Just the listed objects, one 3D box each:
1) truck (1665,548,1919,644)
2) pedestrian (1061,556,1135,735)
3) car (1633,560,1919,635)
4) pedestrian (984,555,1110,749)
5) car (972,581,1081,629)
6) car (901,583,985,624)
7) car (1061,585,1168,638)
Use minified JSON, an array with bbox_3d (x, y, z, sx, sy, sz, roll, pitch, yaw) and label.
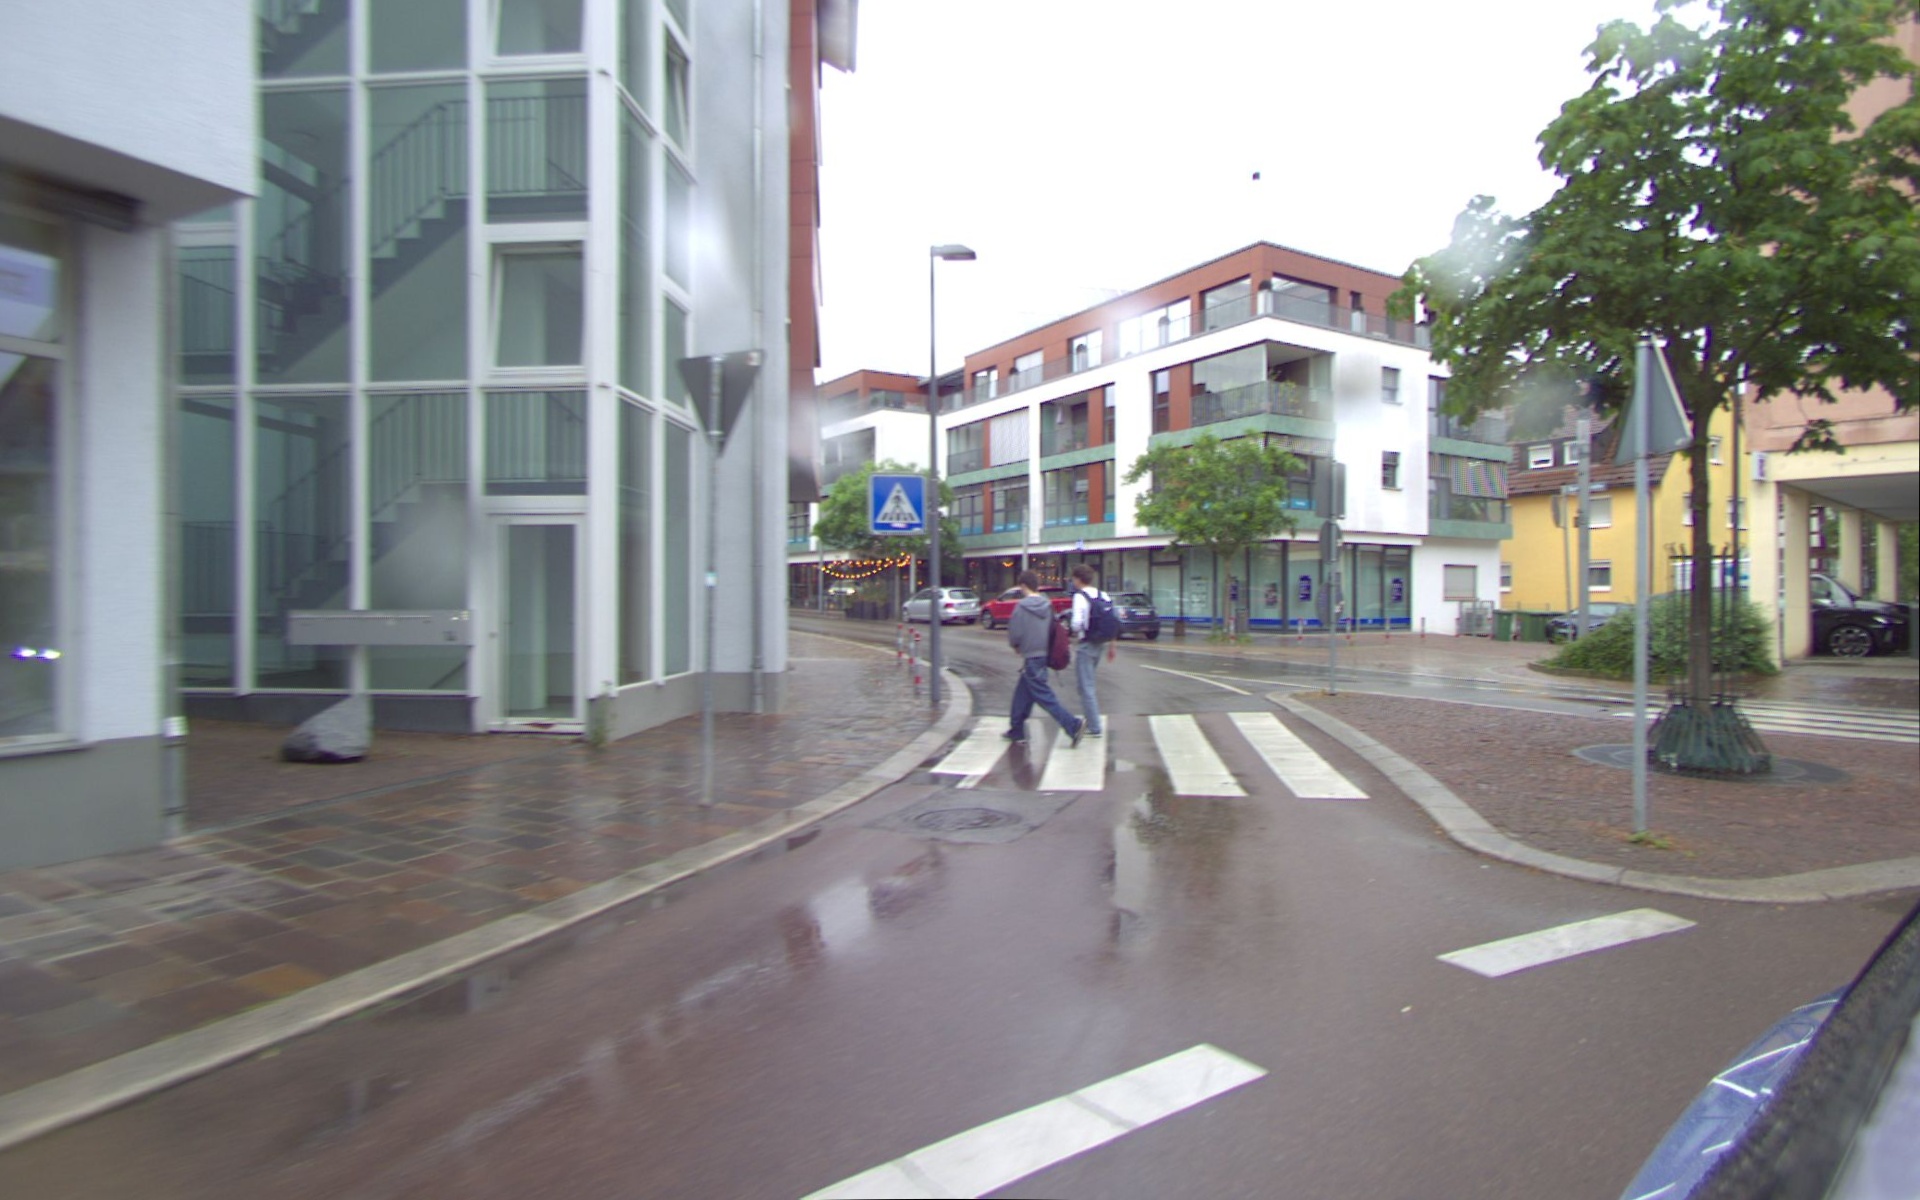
[{"bbox_3d":[17.521,-0.096,21.370,1.737,1.831,3.995,-1,1,-39],"label":"truck"},{"bbox_3d":[1.469,0.465,10.913,0.653,1.829,1.061,-1,0,1],"label":"pedestrian"},{"bbox_3d":[15.830,-0.057,19.507,1.737,1.292,4.466,-1,1,-39],"label":"car"},{"bbox_3d":[0.864,0.484,10.158,1.054,1.823,0.684,0,0,43],"label":"pedestrian"},{"bbox_3d":[2.267,0.138,35.349,1.599,1.519,4.000,-4,3,-35],"label":"car"},{"bbox_3d":[-0.742,0.099,40.230,1.589,1.430,4.005,-4,3,-29],"label":"car"},{"bbox_3d":[4.647,0.300,30.873,1.511,1.378,3.379,-2,3,-28],"label":"car"}]
